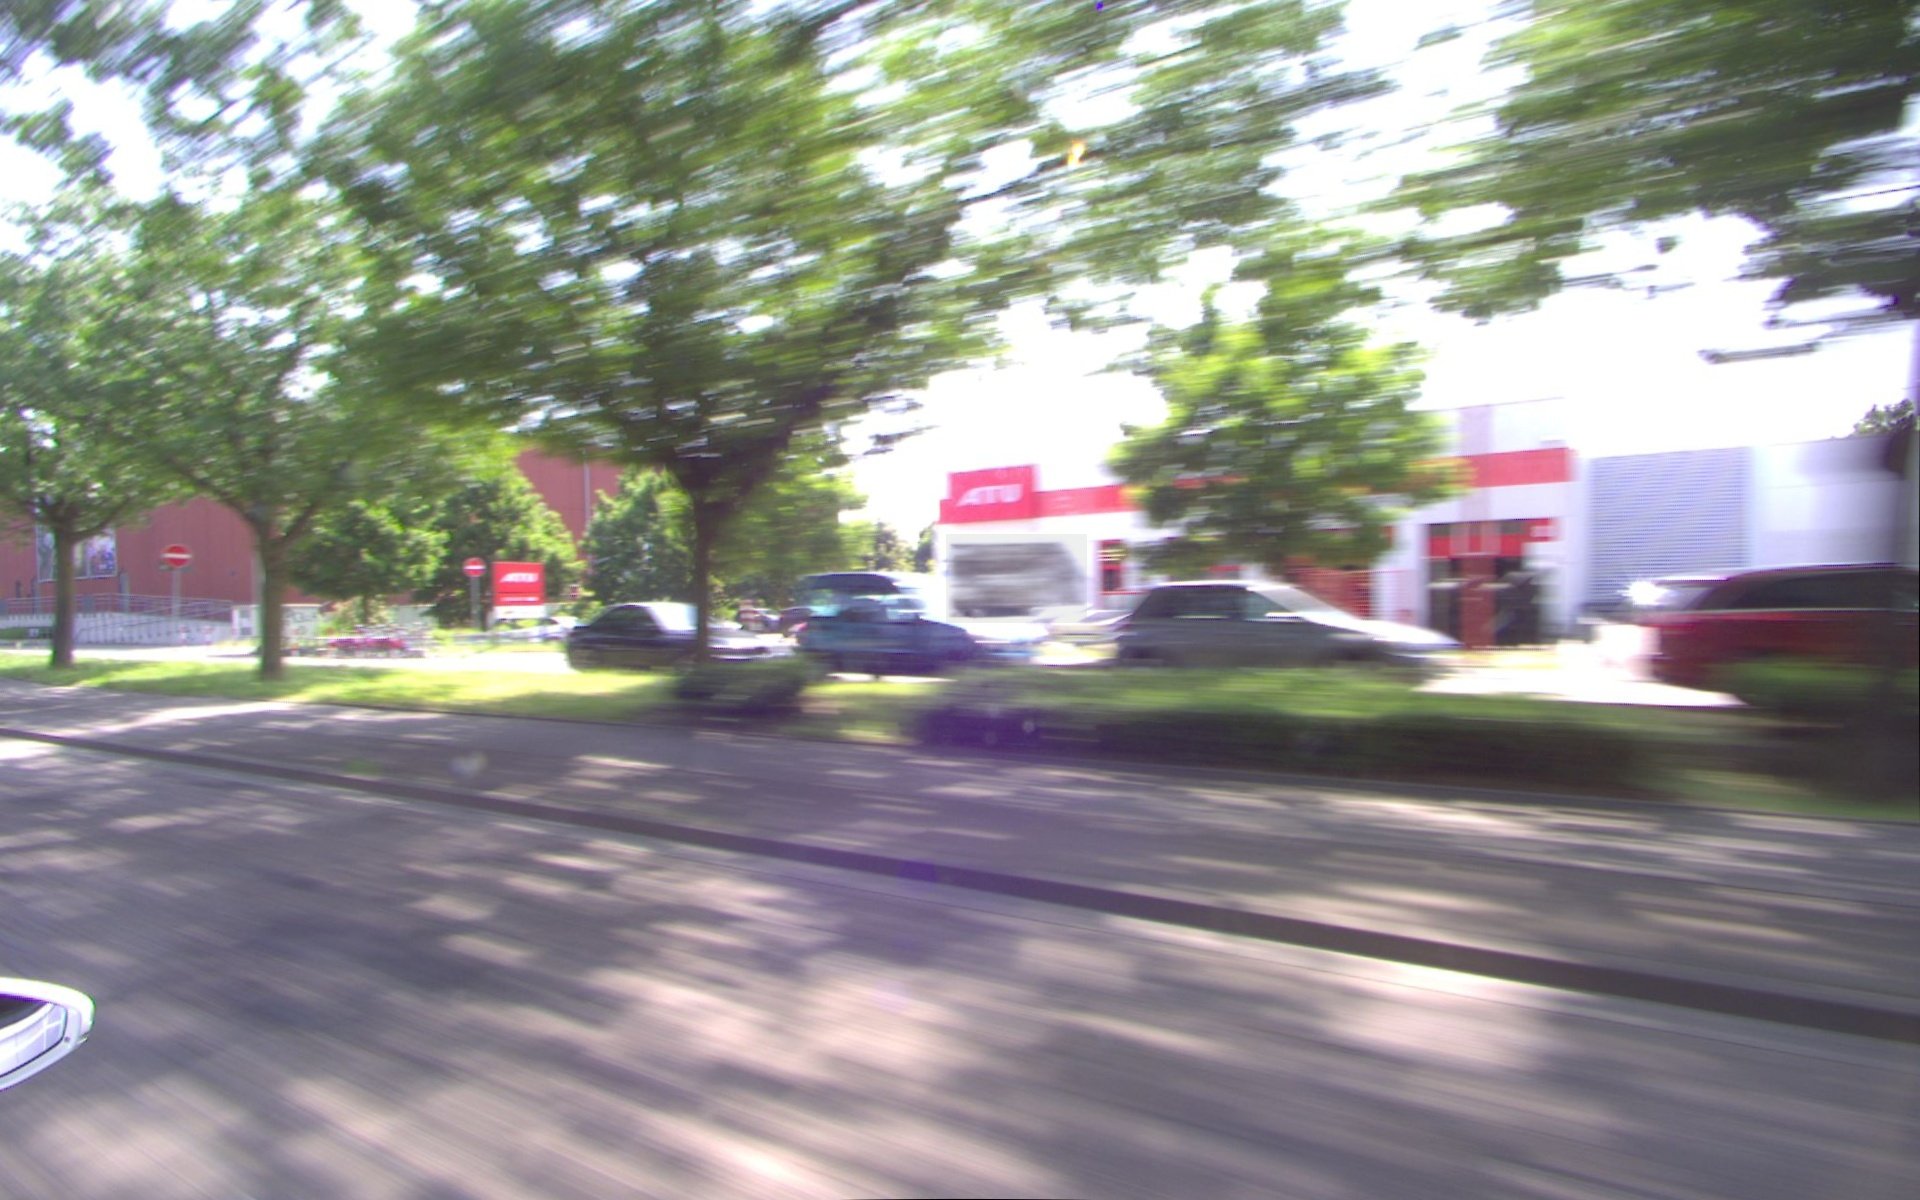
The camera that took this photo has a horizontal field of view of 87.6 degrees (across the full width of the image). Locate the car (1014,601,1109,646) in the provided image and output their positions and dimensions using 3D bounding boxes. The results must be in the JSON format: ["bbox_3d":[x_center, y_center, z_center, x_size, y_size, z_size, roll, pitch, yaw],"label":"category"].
[{"bbox_3d":[2.988,0.710,29.179,1.505,1.223,3.121,-1,-3,33],"label":"car"}]

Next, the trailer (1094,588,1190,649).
[{"bbox_3d":[5.221,0.475,28.408,1.393,1.603,3.595,0,1,34],"label":"trailer"}]

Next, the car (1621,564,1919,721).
[{"bbox_3d":[8.957,0.377,9.626,4.261,1.398,1.697,-1,0,32],"label":"car"}]

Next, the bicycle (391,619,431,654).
[{"bbox_3d":[-17.794,1.179,32.467,0.342,1.099,1.086,0,1,32],"label":"bicycle"}]

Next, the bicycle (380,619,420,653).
[{"bbox_3d":[-18.451,1.181,32.994,0.342,1.099,1.086,0,1,32],"label":"bicycle"}]

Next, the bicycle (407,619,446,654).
[{"bbox_3d":[-17.196,1.165,32.288,0.342,1.099,1.086,0,1,32],"label":"bicycle"}]

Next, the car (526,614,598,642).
[{"bbox_3d":[-19.755,1.370,49.698,3.818,1.307,1.408,-1,1,34],"label":"car"}]

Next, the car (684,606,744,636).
[{"bbox_3d":[-14.255,1.235,58.050,3.321,1.662,1.563,-1,1,36],"label":"car"}]

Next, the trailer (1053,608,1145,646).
[{"bbox_3d":[3.572,0.697,25.519,1.361,0.922,2.708,-1,-2,32],"label":"trailer"}]

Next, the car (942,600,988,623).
[{"bbox_3d":[0.409,0.924,80.620,3.307,1.818,1.569,-1,1,20],"label":"car"}]

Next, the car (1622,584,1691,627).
[{"bbox_3d":[27.496,0.178,39.635,1.819,1.595,3.981,-1,1,29],"label":"car"}]

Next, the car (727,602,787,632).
[{"bbox_3d":[-12.621,1.069,62.329,3.307,1.818,1.569,-1,1,20],"label":"car"}]

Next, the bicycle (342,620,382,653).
[{"bbox_3d":[-20.325,1.235,34.039,0.401,1.099,1.086,0,1,32],"label":"bicycle"}]

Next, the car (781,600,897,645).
[{"bbox_3d":[-3.755,0.748,31.596,1.794,1.323,3.559,-1,-3,33],"label":"car"}]

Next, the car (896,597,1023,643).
[{"bbox_3d":[0.060,0.582,28.926,1.882,1.237,3.980,-2,-1,32],"label":"car"}]

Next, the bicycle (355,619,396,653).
[{"bbox_3d":[-19.645,1.216,33.666,0.401,1.099,1.086,0,1,32],"label":"bicycle"}]

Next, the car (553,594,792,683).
[{"bbox_3d":[-5.306,0.676,18.195,4.593,1.443,1.695,-2,-1,36],"label":"car"}]

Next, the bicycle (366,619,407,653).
[{"bbox_3d":[-19.066,1.198,33.305,0.401,1.099,1.086,0,1,32],"label":"bicycle"}]

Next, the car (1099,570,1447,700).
[{"bbox_3d":[3.853,0.398,12.479,3.849,1.398,1.697,-1,0,32],"label":"car"}]

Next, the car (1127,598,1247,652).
[{"bbox_3d":[5.701,0.578,24.860,1.733,1.198,3.793,-1,0,32],"label":"car"}]

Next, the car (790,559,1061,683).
[{"bbox_3d":[-0.569,0.334,15.265,3.851,1.659,1.696,-2,-1,33],"label":"car"}]
